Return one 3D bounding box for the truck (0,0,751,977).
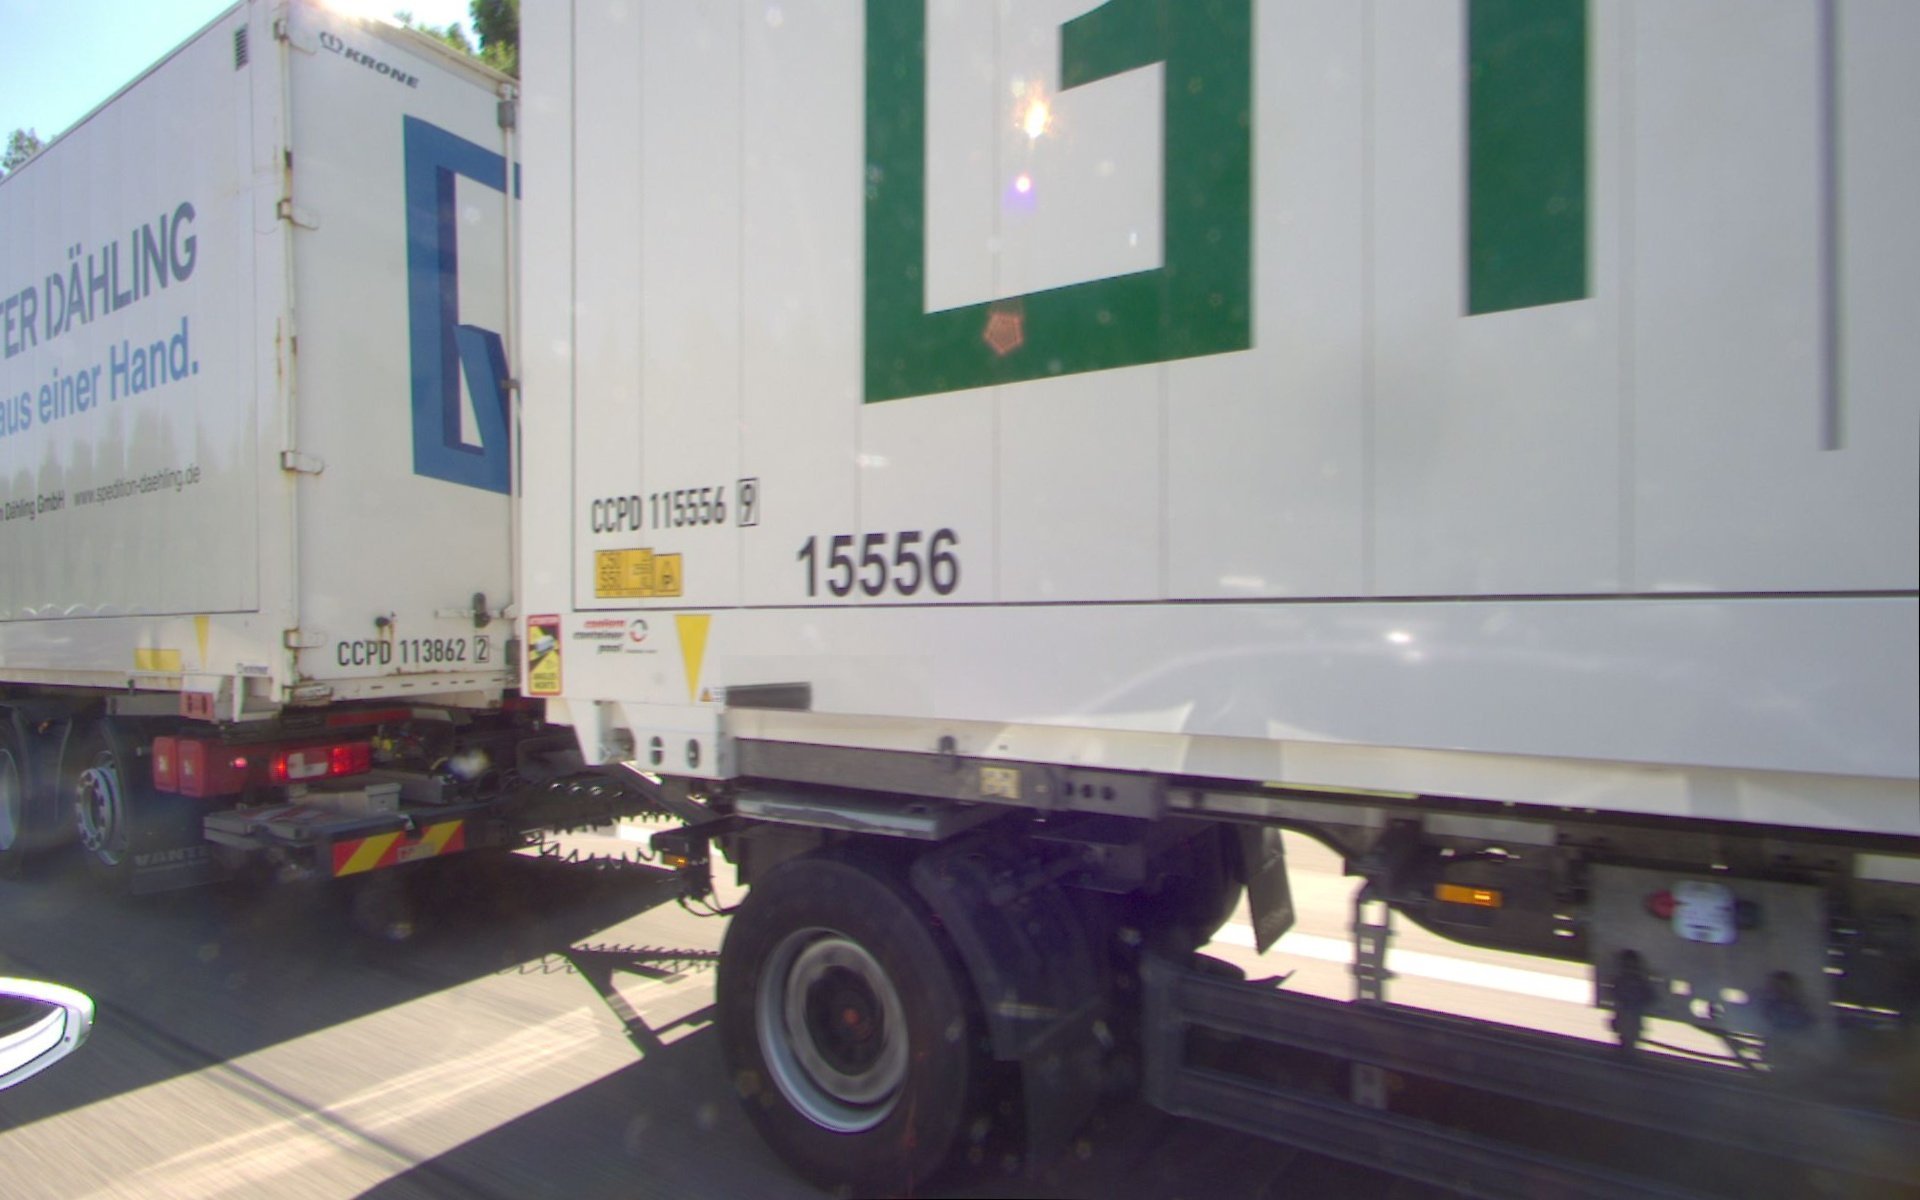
[{"bbox_3d":[-6.461,-0.546,7.885,10.471,4.112,2.676,0,-1,32],"label":"truck"}]

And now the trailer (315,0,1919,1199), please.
[{"bbox_3d":[2.500,-0.638,2.266,9.919,4.230,2.675,0,-1,32],"label":"trailer"}]
